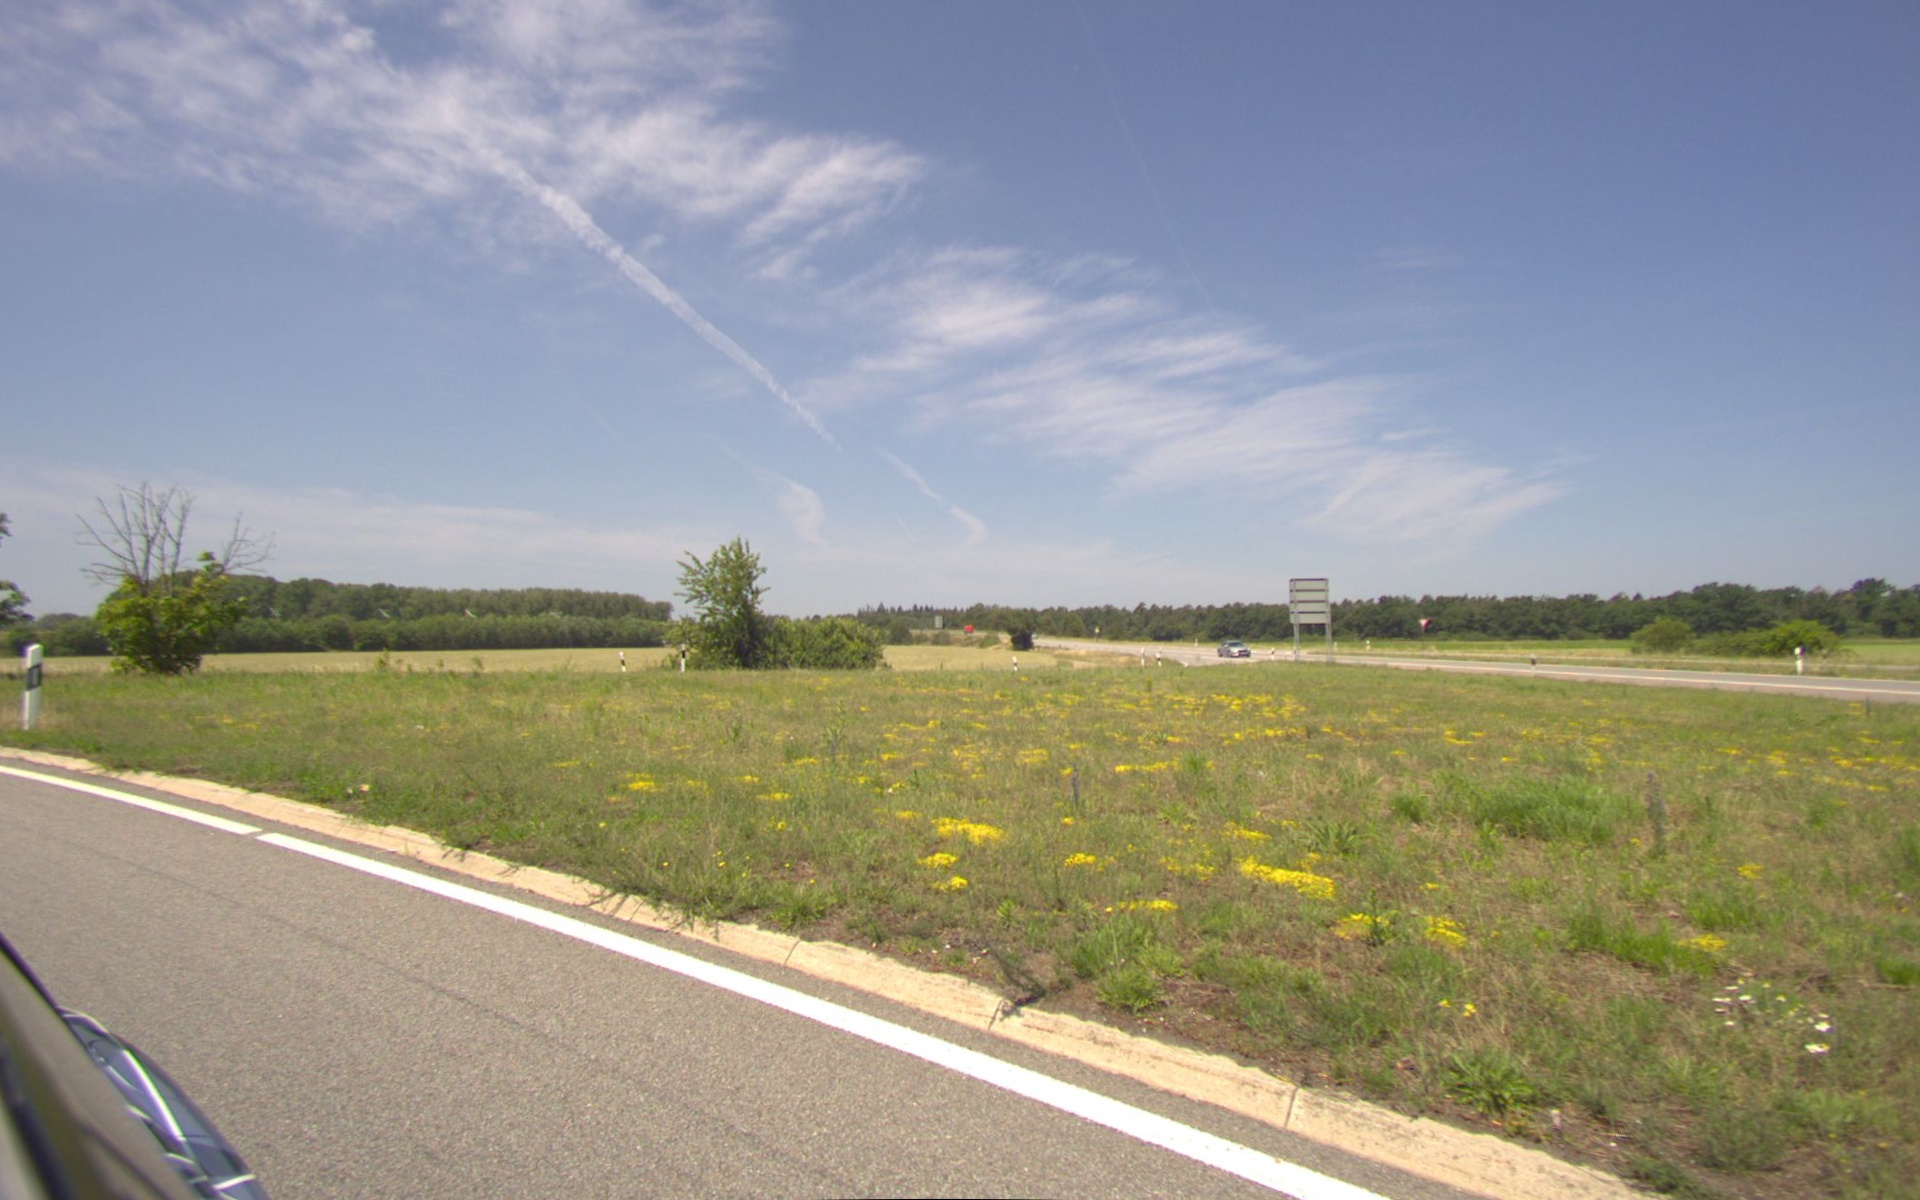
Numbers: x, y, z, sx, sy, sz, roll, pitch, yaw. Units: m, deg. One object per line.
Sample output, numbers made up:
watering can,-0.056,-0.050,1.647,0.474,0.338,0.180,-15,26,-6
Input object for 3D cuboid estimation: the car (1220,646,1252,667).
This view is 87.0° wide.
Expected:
car,24.058,4.905,88.365,1.703,1.719,3.427,0,-2,-2
